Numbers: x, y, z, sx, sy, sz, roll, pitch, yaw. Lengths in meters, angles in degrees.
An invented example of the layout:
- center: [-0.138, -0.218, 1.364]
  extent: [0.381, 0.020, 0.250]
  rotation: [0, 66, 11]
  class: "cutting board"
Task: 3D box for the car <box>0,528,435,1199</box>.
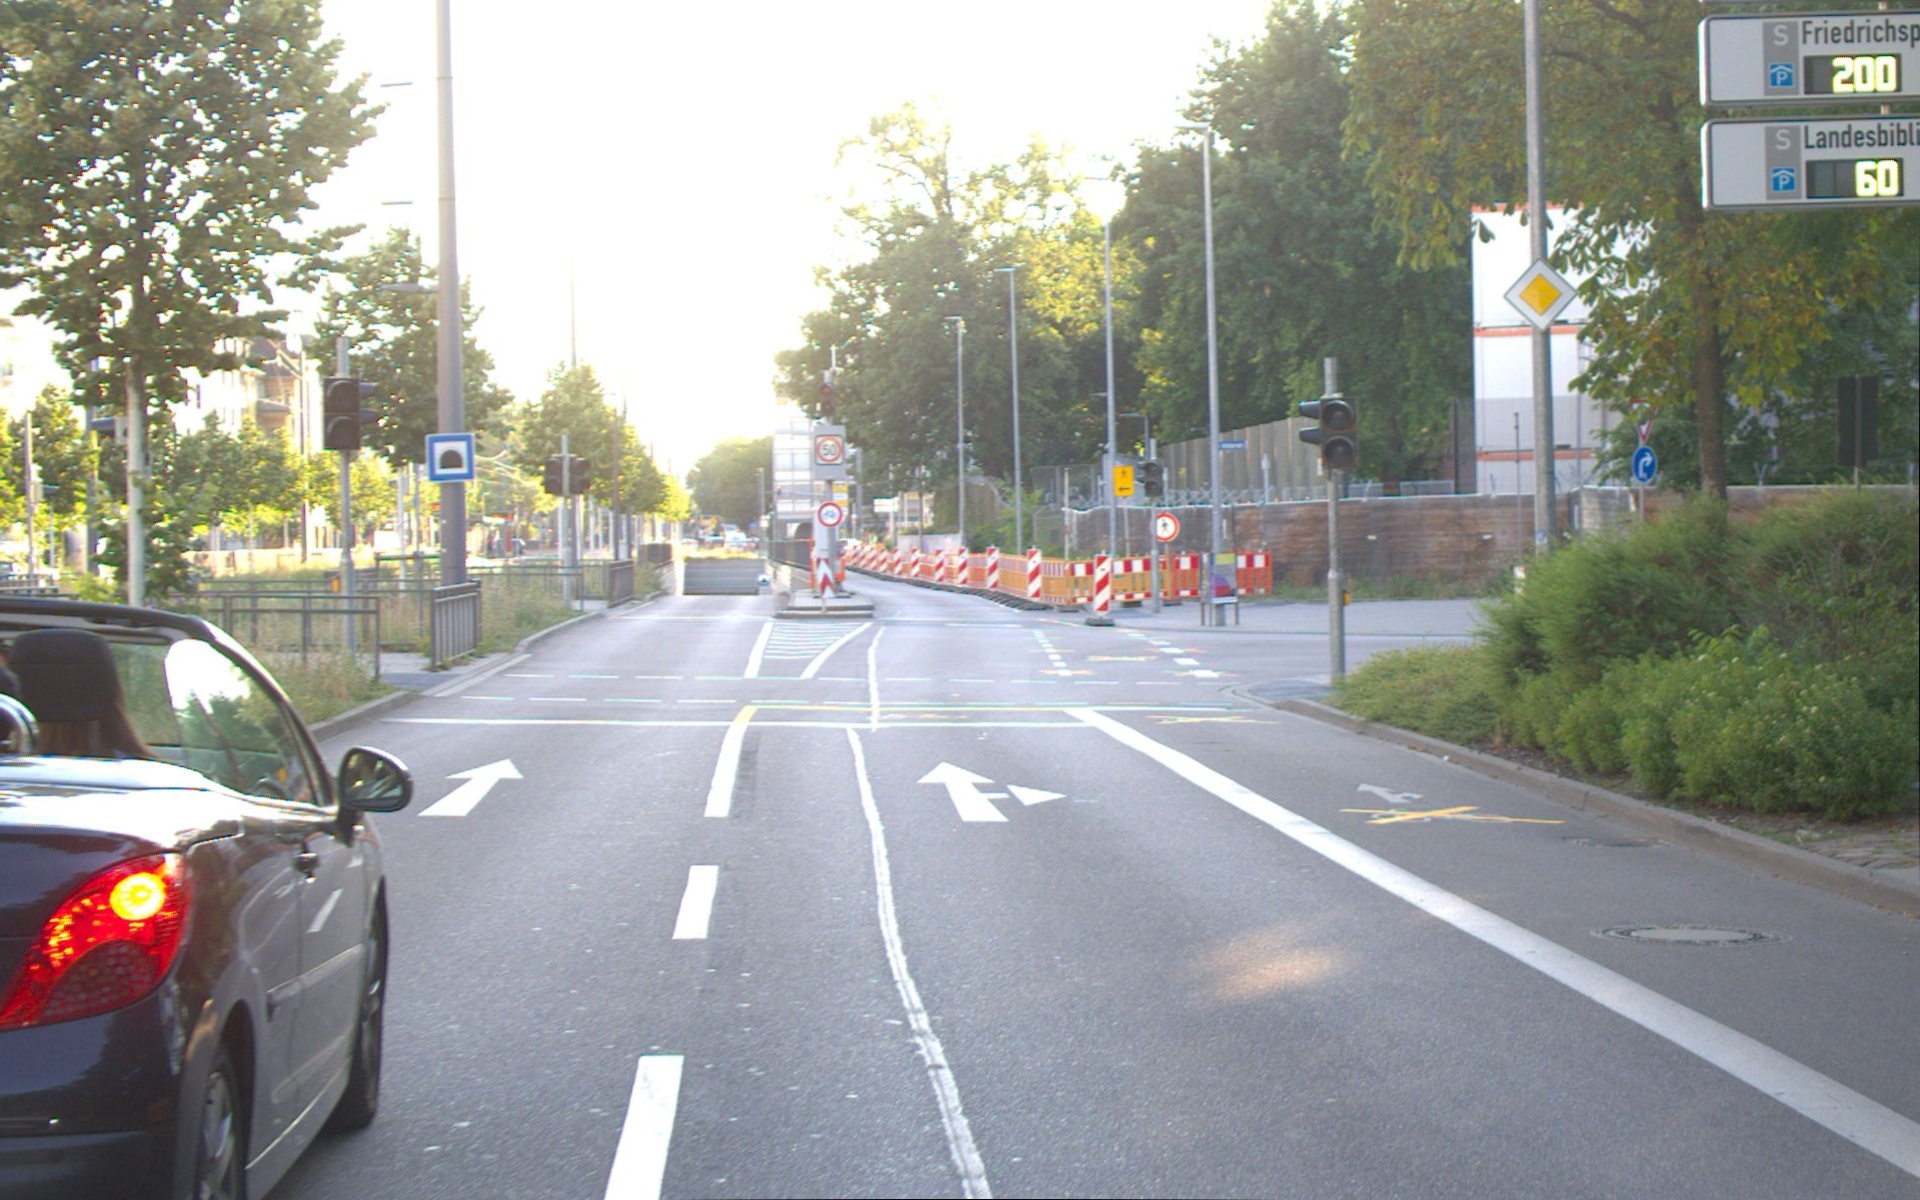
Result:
- center: [-2.176, 0.592, 7.285]
  extent: [1.718, 1.444, 3.902]
  rotation: [0, 2, -3]
  class: "car"
